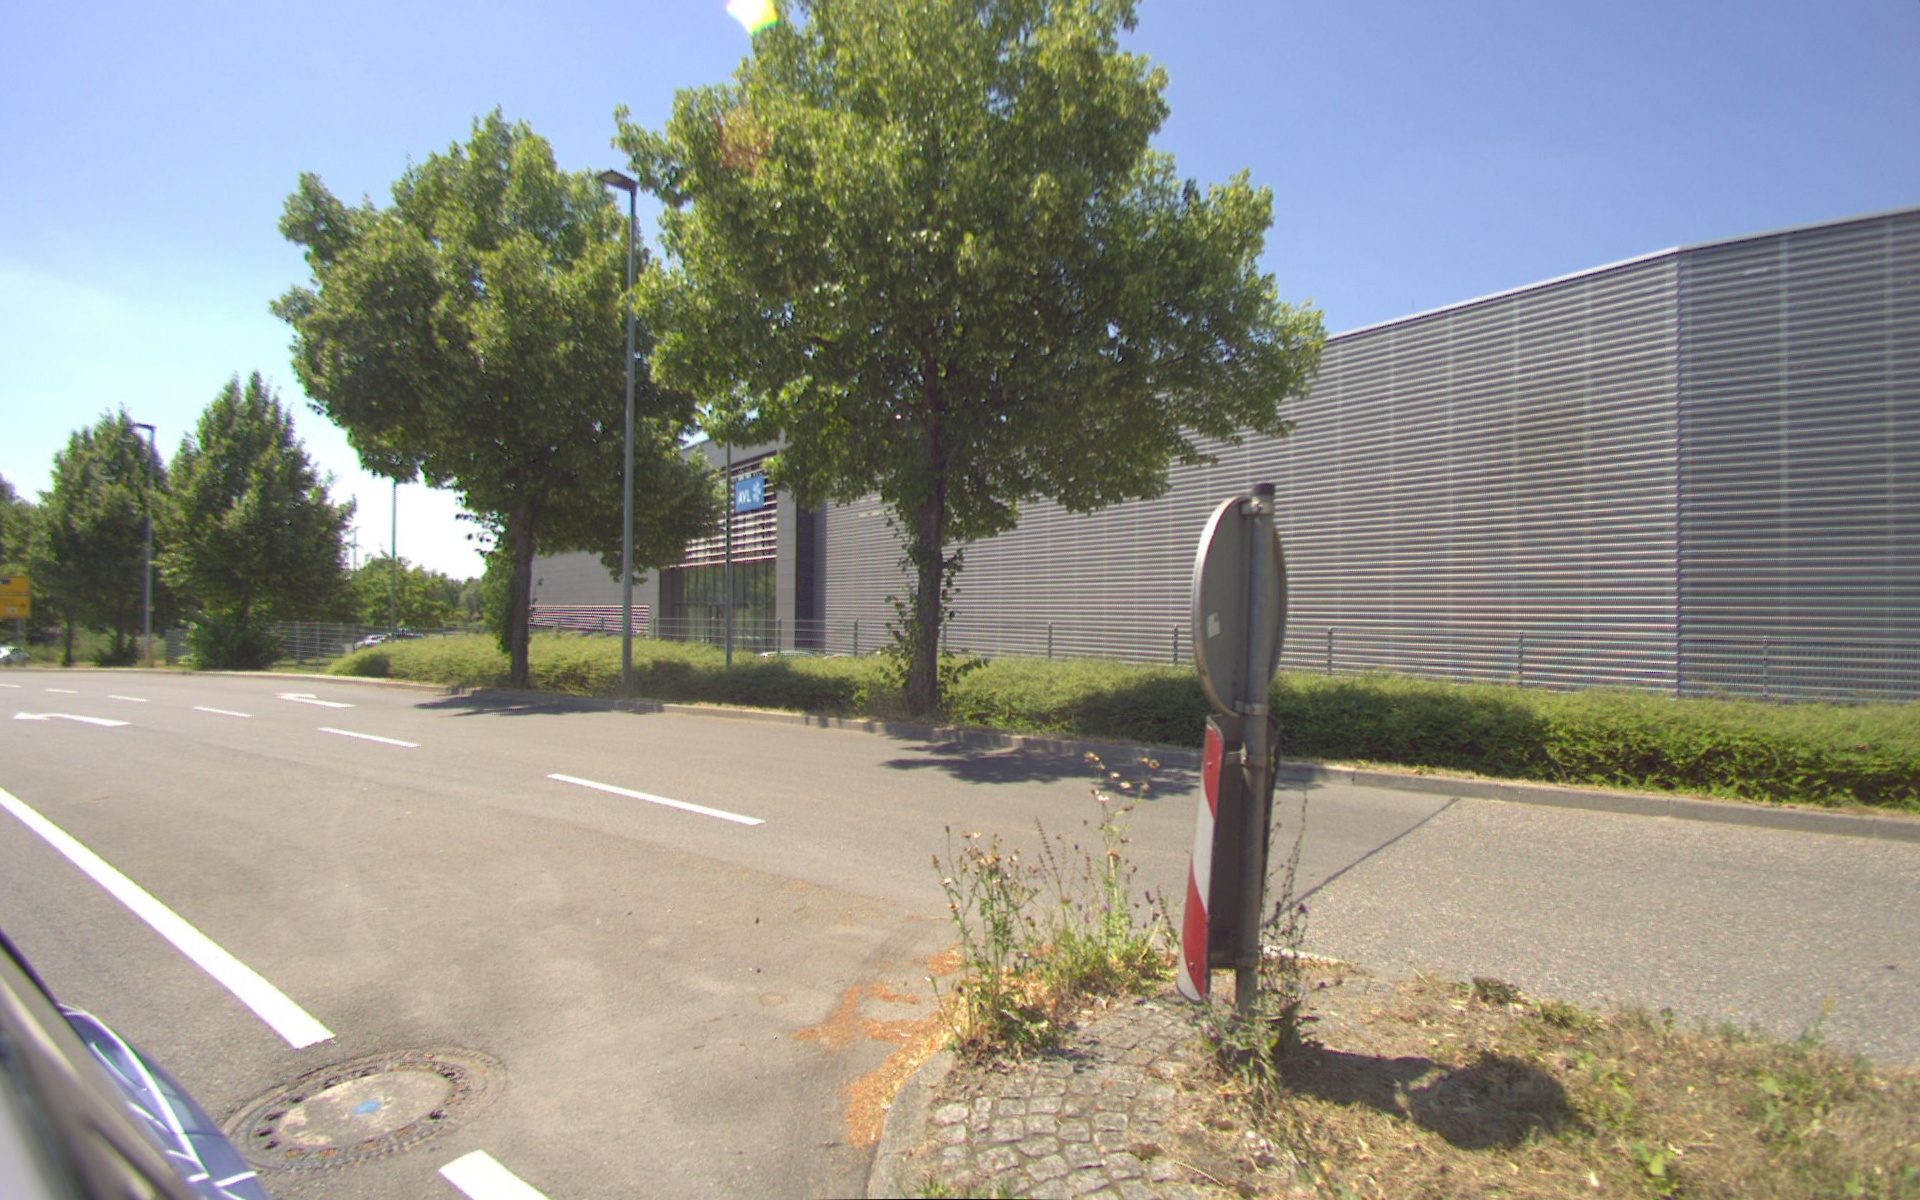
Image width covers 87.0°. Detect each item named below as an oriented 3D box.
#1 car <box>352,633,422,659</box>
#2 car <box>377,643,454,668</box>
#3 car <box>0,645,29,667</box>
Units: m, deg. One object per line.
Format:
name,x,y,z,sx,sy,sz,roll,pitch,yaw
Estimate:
car,-39.724,3.177,70.158,3.935,1.719,2.004,2,-5,-38
car,-34.078,3.495,63.406,3.935,1.497,2.004,2,-5,-38
car,-79.824,4.693,84.334,1.965,1.796,4.012,1,-4,-22
